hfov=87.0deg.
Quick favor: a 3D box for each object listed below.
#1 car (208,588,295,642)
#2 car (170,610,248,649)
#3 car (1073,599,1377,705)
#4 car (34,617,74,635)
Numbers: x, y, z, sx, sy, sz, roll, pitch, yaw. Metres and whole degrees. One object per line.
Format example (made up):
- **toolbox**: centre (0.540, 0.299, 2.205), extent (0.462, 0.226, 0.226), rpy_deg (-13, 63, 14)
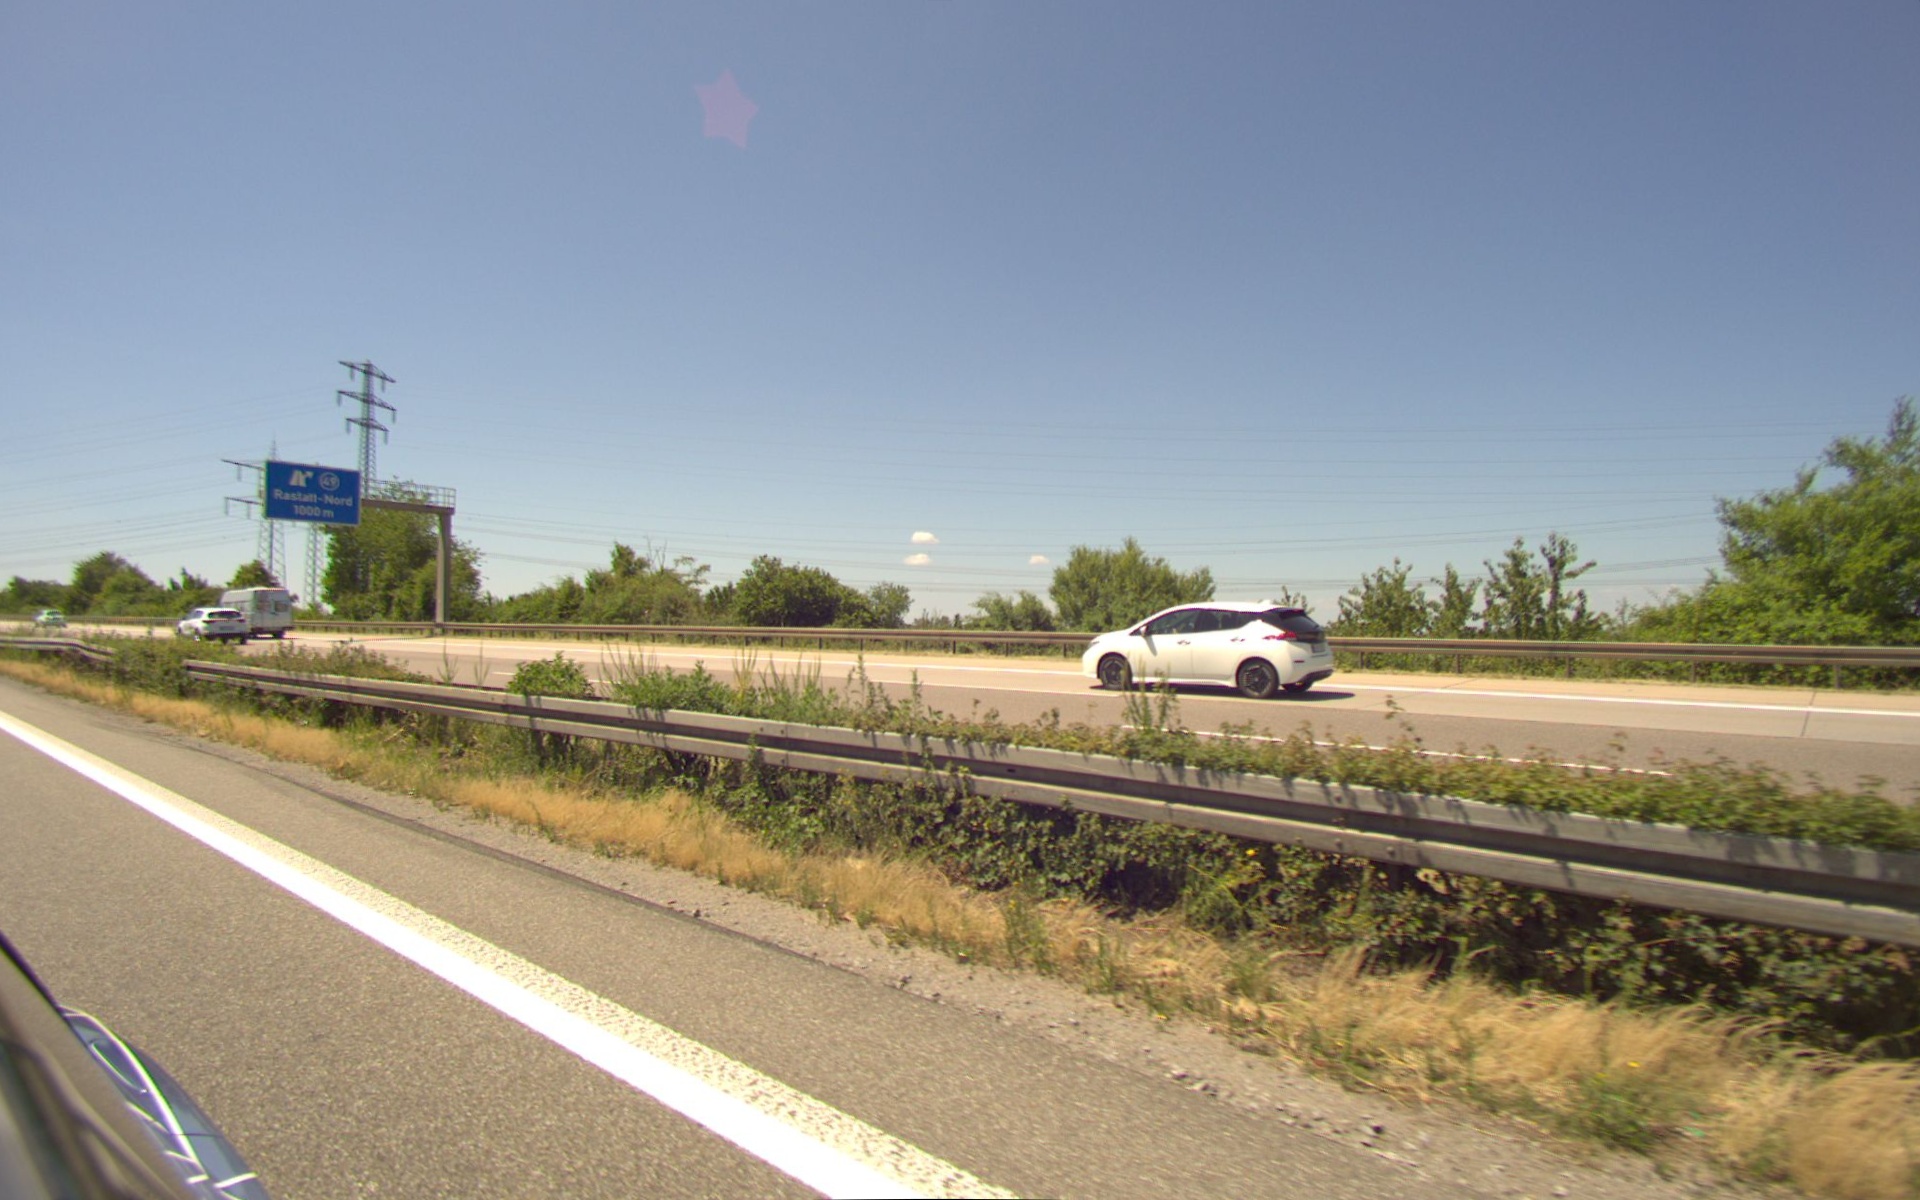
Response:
- **car**: centre (-38.048, 0.795, 54.243), extent (7.174, 2.706, 1.974), rpy_deg (-1, 0, 39)
- **car**: centre (-34.090, 1.313, 45.877), extent (4.897, 1.693, 1.770), rpy_deg (-1, -1, 40)
- **car**: centre (4.436, 0.800, 17.496), extent (4.825, 1.552, 1.729), rpy_deg (-1, 1, 41)
- **car**: centre (-77.745, 2.174, 86.810), extent (4.084, 1.469, 1.973), rpy_deg (-1, -1, 40)
